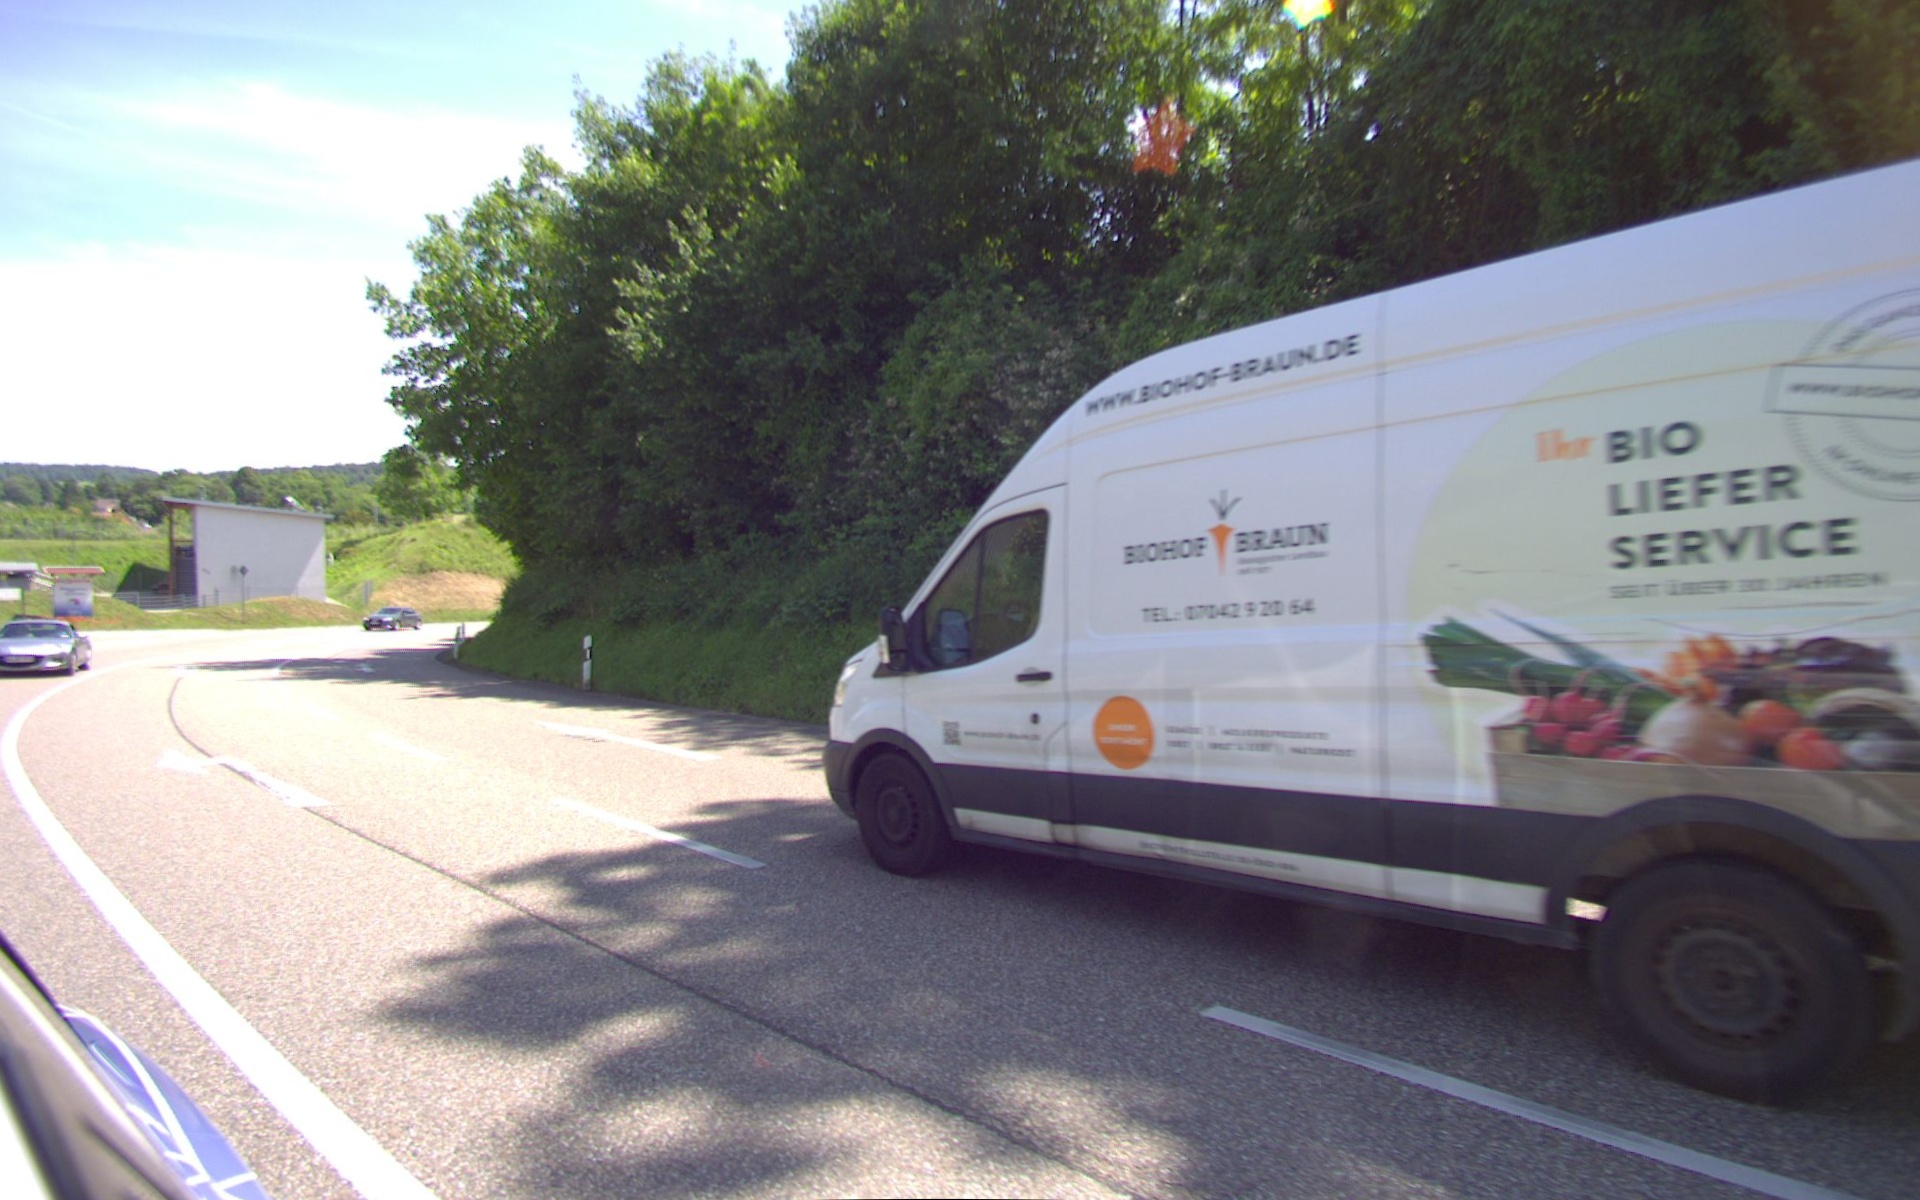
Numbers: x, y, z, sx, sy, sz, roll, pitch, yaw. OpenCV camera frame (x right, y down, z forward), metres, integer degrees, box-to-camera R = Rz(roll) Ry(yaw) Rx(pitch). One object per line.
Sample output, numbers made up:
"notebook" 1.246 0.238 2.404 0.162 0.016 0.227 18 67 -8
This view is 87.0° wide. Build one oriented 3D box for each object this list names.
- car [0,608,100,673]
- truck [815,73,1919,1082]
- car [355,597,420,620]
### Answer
"car" -21.263 0.880 23.451 1.621 1.332 3.448 0 1 -33
"truck" 1.947 -0.057 4.798 2.029 2.707 5.985 -1 0 -45
"car" -33.772 0.488 59.785 1.730 1.298 4.149 1 0 -4
